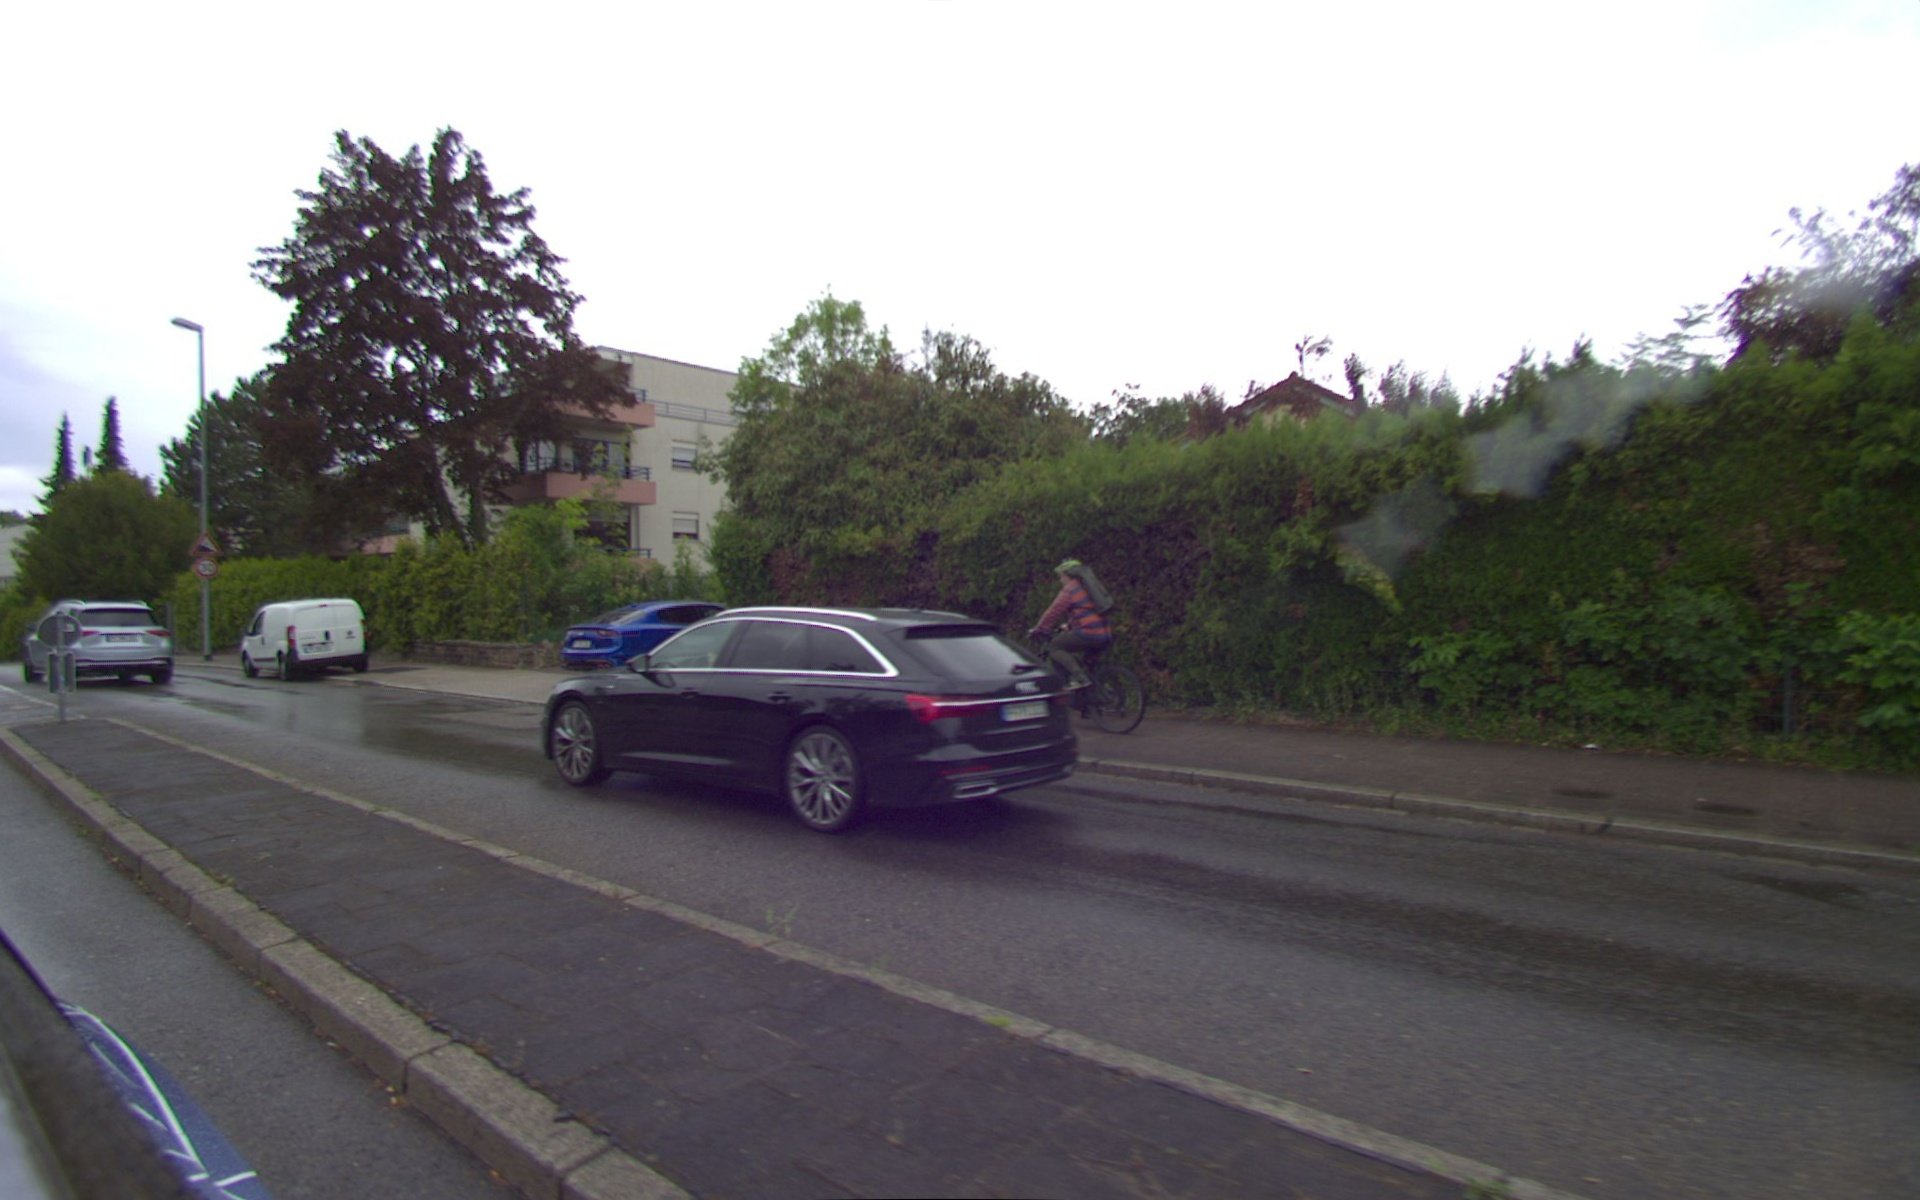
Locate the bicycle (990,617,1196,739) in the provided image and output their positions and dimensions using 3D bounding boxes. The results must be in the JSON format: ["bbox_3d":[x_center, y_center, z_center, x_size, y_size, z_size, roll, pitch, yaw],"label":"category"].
[{"bbox_3d":[1.326,0.739,10.332,1.988,1.094,0.739,-1,1,41],"label":"bicycle"}]

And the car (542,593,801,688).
[{"bbox_3d":[-5.194,0.682,18.823,1.801,1.372,4.444,-3,1,35],"label":"car"}]

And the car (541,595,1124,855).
[{"bbox_3d":[-1.176,0.735,7.725,4.550,1.448,1.721,-1,-2,38],"label":"car"}]

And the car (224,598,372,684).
[{"bbox_3d":[-15.393,0.923,23.457,3.975,1.720,1.684,-2,3,40],"label":"car"}]

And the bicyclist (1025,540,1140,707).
[{"bbox_3d":[1.259,0.226,10.395,0.867,1.624,0.757,-1,1,41],"label":"bicyclist"}]

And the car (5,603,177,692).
[{"bbox_3d":[-18.933,1.001,21.994,4.475,1.729,2.021,-2,-2,38],"label":"car"}]
